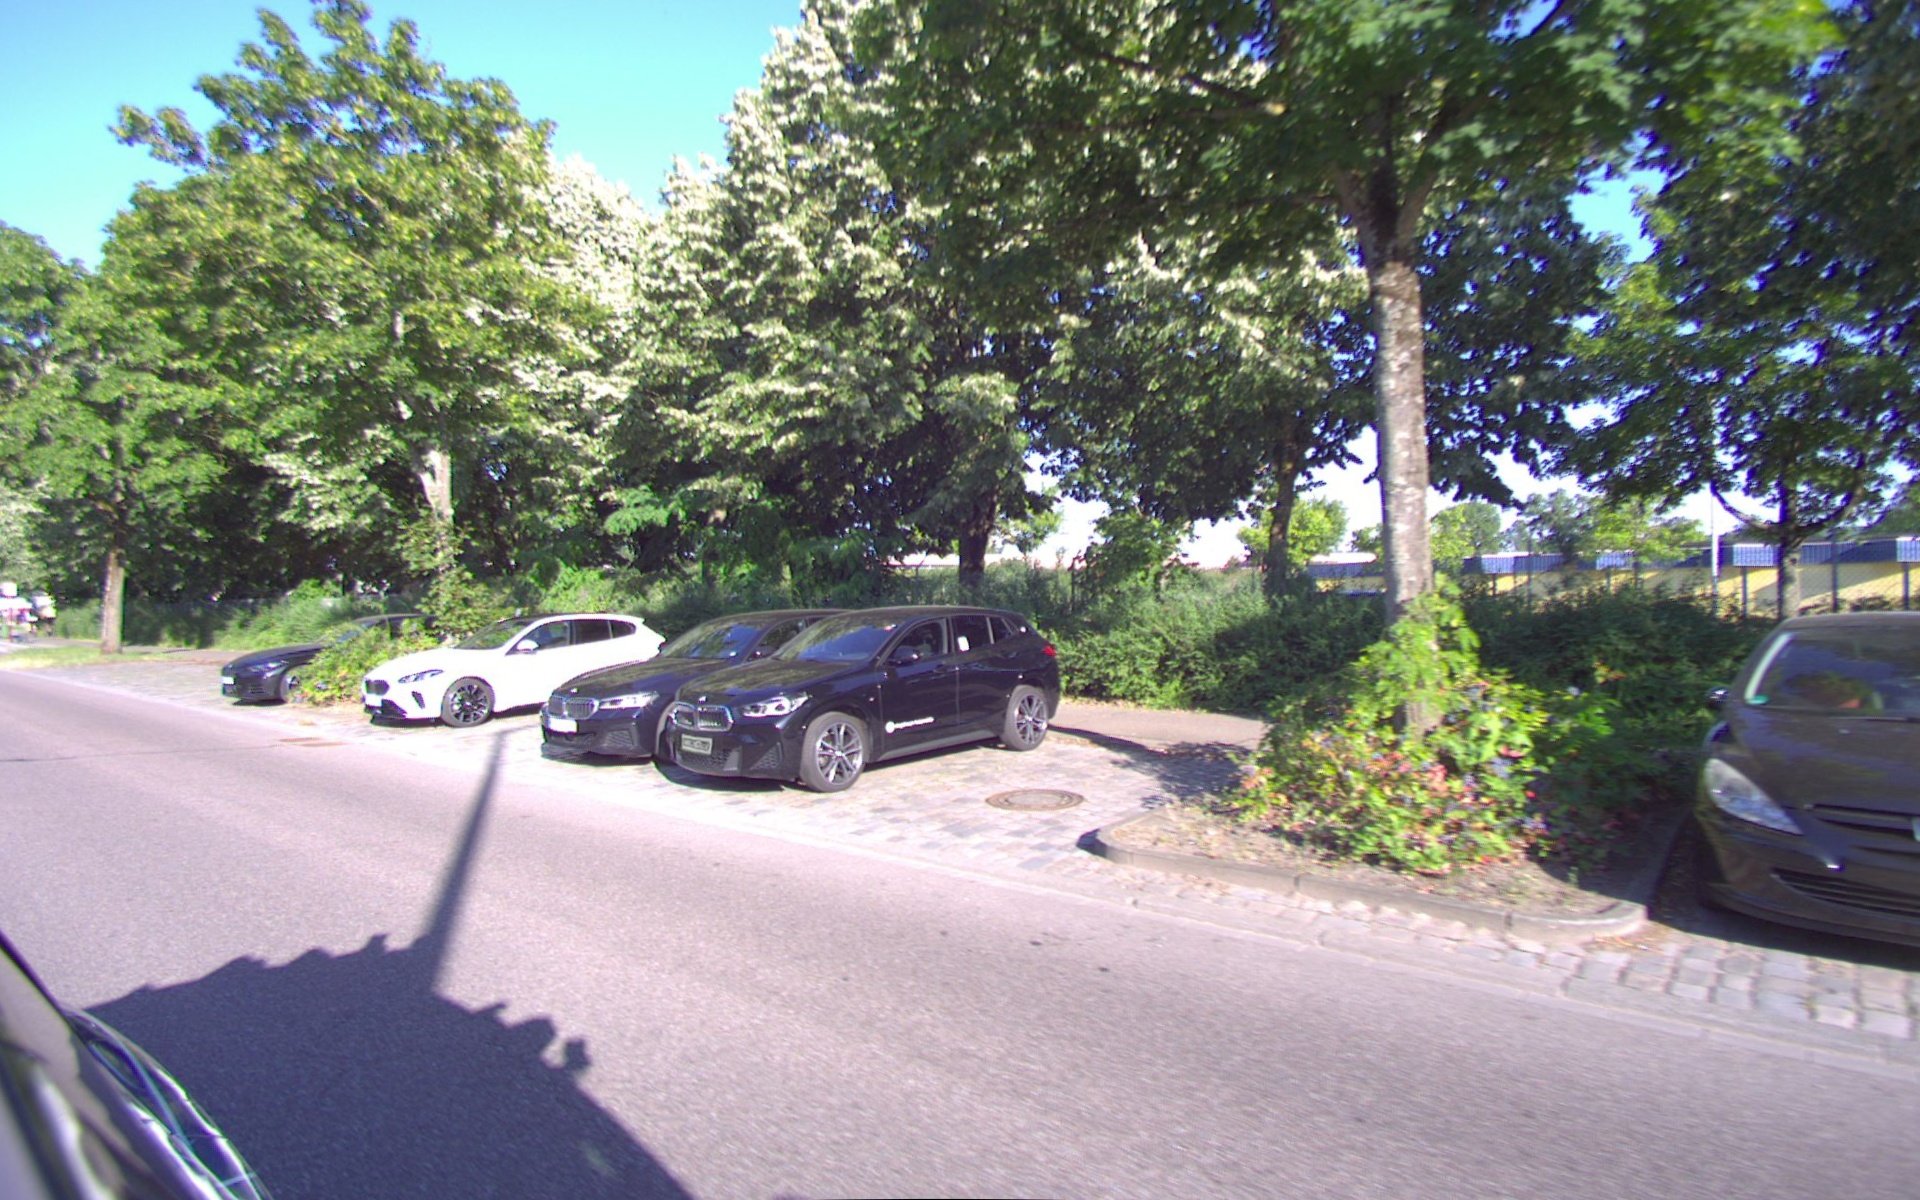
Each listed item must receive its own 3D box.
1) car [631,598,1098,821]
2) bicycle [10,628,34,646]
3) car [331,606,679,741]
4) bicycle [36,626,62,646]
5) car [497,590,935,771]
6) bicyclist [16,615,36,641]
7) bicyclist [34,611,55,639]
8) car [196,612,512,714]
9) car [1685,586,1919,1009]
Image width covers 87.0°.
[{"bbox_3d":[-0.688,0.827,9.926,1.998,1.542,4.435,-1,1,39],"label":"car"},{"bbox_3d":[-55.800,2.181,60.223,2.215,1.047,0.758,-1,-1,40],"label":"bicycle"},{"bbox_3d":[-6.569,0.941,14.993,1.999,1.542,4.243,-1,1,40],"label":"car"},{"bbox_3d":[-49.552,1.944,55.044,2.215,1.047,0.758,-1,-1,40],"label":"bicycle"},{"bbox_3d":[-2.549,0.730,11.788,1.996,1.542,4.807,-1,1,36],"label":"car"},{"bbox_3d":[-55.242,1.664,59.861,0.950,1.541,0.723,-1,-1,40],"label":"bicyclist"},{"bbox_3d":[-49.728,1.348,54.962,0.950,1.541,0.723,-1,-1,40],"label":"bicyclist"},{"bbox_3d":[-10.956,1.044,18.624,1.913,1.432,4.606,-1,1,37],"label":"car"},{"bbox_3d":[5.192,0.713,5.285,1.998,1.473,4.435,-1,1,39],"label":"car"}]
